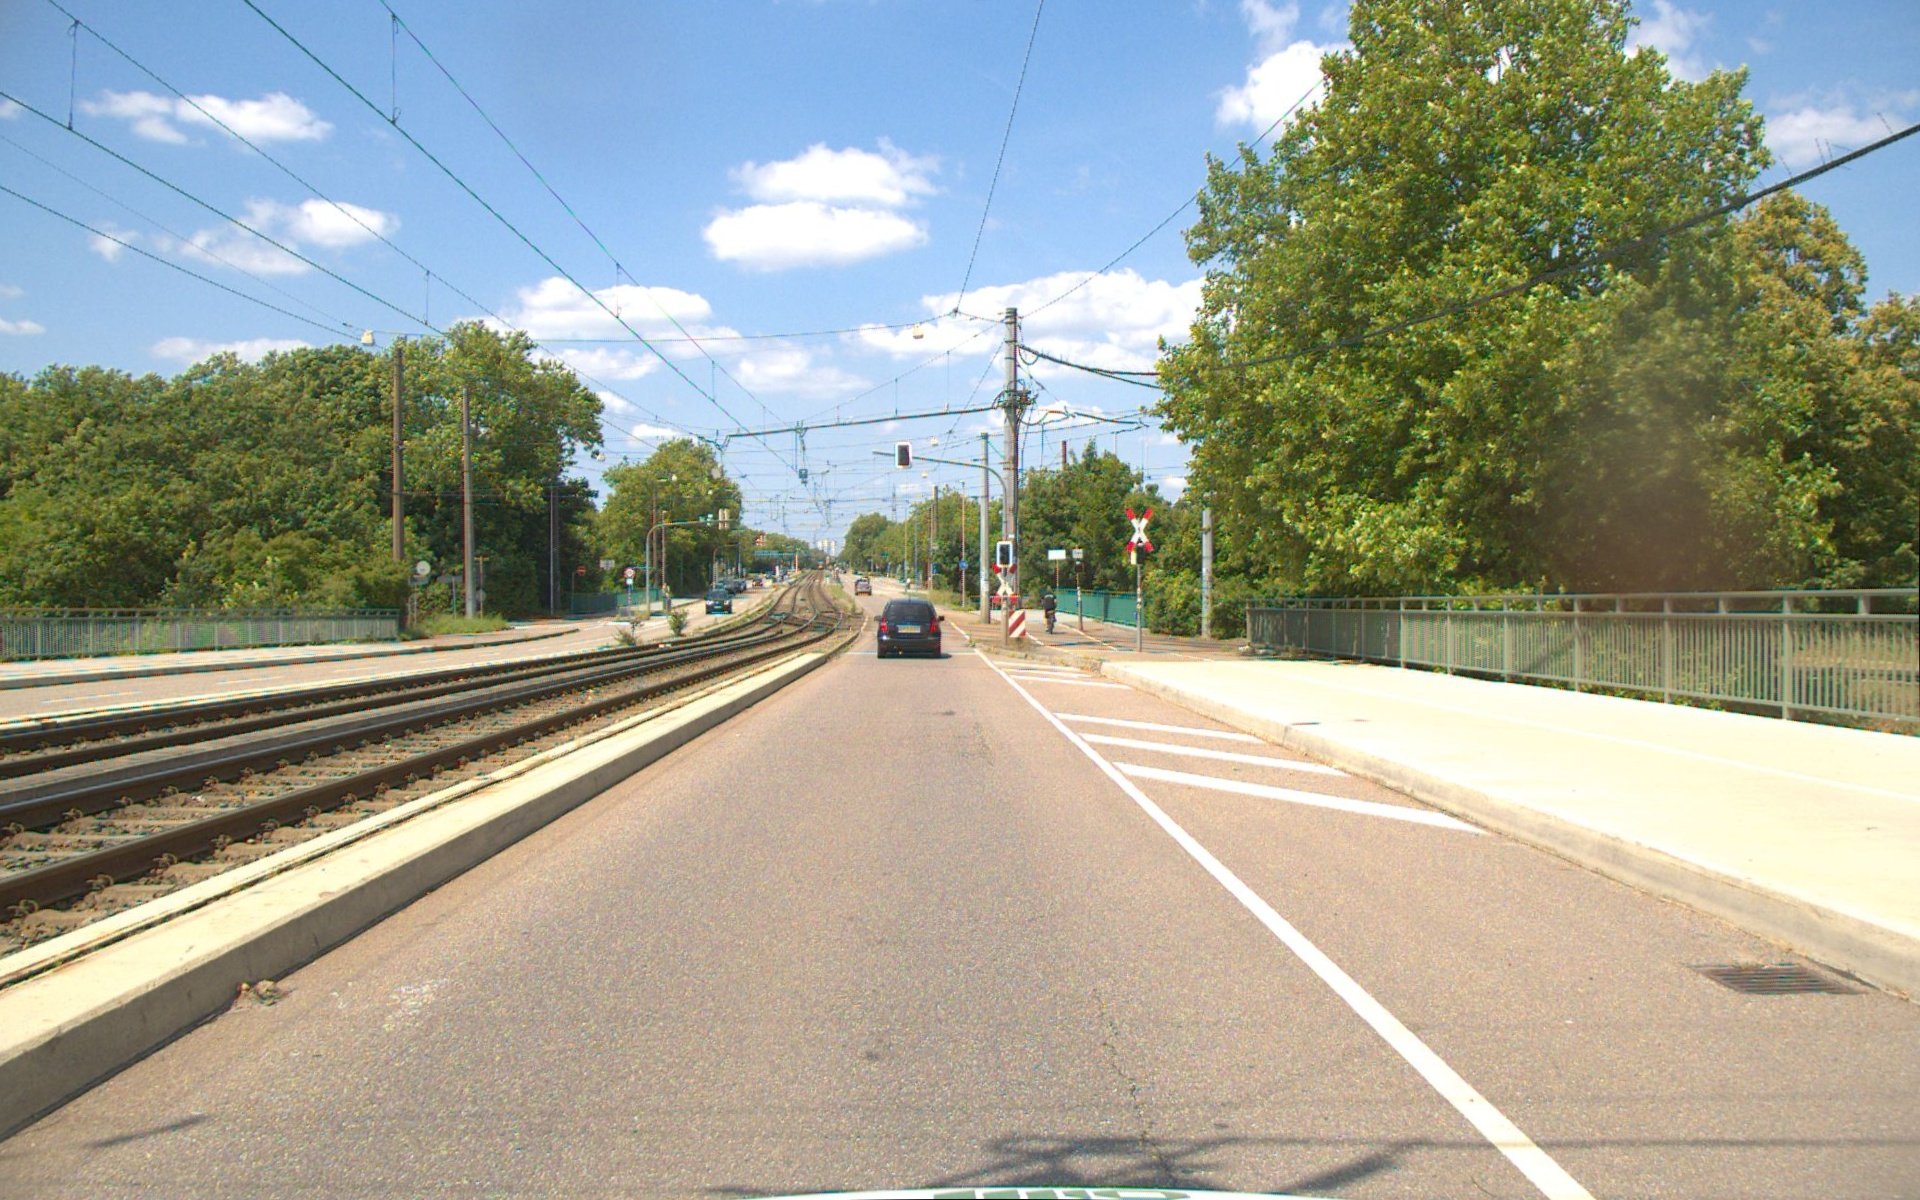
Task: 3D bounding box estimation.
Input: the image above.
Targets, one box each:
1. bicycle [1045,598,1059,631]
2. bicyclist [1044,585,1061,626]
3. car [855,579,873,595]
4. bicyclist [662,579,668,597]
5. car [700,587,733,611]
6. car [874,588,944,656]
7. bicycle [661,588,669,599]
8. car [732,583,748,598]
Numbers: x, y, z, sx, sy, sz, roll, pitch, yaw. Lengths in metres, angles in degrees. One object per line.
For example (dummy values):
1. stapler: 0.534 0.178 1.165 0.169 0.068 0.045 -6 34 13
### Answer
1. bicycle: 3.503 0.539 63.253 0.423 1.172 1.855 1 2 0
2. bicyclist: 3.517 0.202 63.043 0.573 1.521 0.558 1 2 0
3. car: -10.985 -1.513 189.413 1.847 1.668 4.000 3 2 -1
4. bicyclist: -24.419 -1.011 136.929 0.447 1.499 0.633 0 0 -3
5. car: -16.319 -0.069 111.018 1.670 1.536 3.733 -2 0 -1
6. car: -1.398 0.570 45.891 1.815 1.597 4.388 1 3 -1
7. bicycle: -24.411 -0.547 136.821 0.459 0.883 1.742 0 1 -2
8. car: -30.730 -1.364 231.495 1.954 2.049 3.997 0 0 -4
